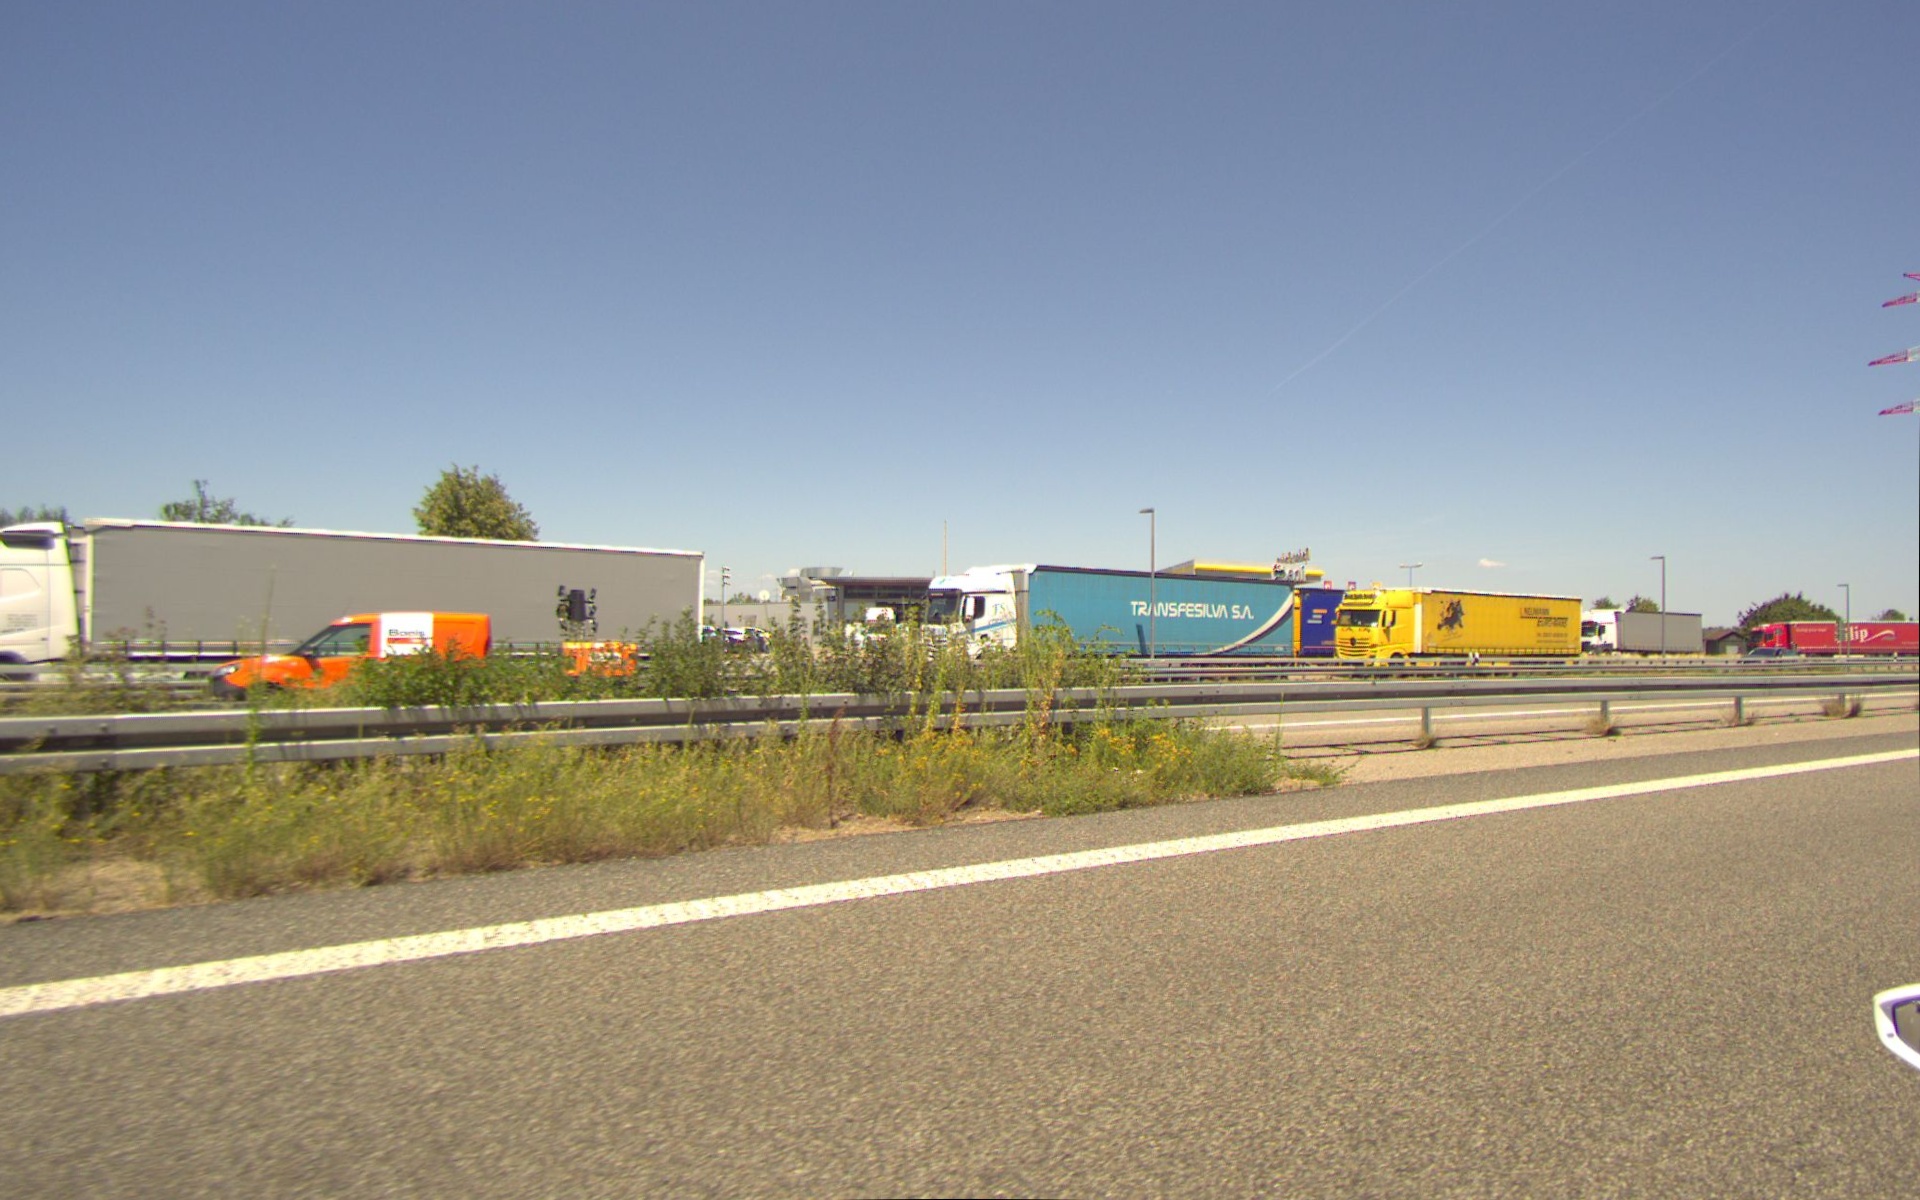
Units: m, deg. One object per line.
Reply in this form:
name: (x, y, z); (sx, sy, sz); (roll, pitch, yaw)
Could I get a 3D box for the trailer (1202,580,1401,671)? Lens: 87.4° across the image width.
trailer: (17.359, 1.318, 50.619); (10.949, 4.204, 2.820); (2, 0, -29)

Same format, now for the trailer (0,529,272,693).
trailer: (-23.846, 0.262, 26.405); (9.200, 4.059, 2.682); (2, 0, -31)

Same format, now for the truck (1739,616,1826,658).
truck: (87.498, 3.868, 106.952); (6.511, 4.103, 3.129); (2, 0, 5)

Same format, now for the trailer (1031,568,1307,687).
trailer: (8.544, 1.110, 39.863); (11.947, 4.204, 2.818); (2, 0, -31)

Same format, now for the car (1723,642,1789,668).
car: (50.768, 3.503, 64.068); (4.456, 1.509, 1.803); (2, 0, -31)

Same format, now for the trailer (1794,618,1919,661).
trailer: (95.489, 4.130, 106.448); (11.085, 4.109, 3.132); (2, 0, 4)

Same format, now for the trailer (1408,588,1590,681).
trailer: (27.333, 1.739, 50.642); (10.957, 4.276, 2.818); (2, 0, -31)

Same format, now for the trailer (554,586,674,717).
trailer: (-6.676, 0.968, 19.386); (1.975, 2.400, 1.162); (1, -1, -30)

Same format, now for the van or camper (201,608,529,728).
van or camper: (-10.221, 1.130, 17.639); (4.691, 1.863, 1.887); (2, -1, -30)

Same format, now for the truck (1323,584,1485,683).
truck: (20.641, 1.540, 46.539); (7.827, 4.256, 2.819); (2, 0, -31)

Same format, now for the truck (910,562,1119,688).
truck: (1.999, 0.879, 35.877); (7.009, 4.127, 2.835); (2, 0, -31)

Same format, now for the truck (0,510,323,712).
truck: (-19.200, 0.257, 23.195); (7.420, 4.213, 3.100); (2, 0, -32)

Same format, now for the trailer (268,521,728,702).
trailer: (-12.181, 0.392, 27.532); (10.892, 4.213, 3.096); (2, 0, -32)

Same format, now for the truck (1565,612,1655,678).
truck: (52.344, 3.579, 80.821); (7.547, 4.915, 3.280); (2, 0, -34)

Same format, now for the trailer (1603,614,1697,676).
trailer: (58.519, 3.761, 85.079); (9.585, 4.940, 3.280); (2, 0, -35)
